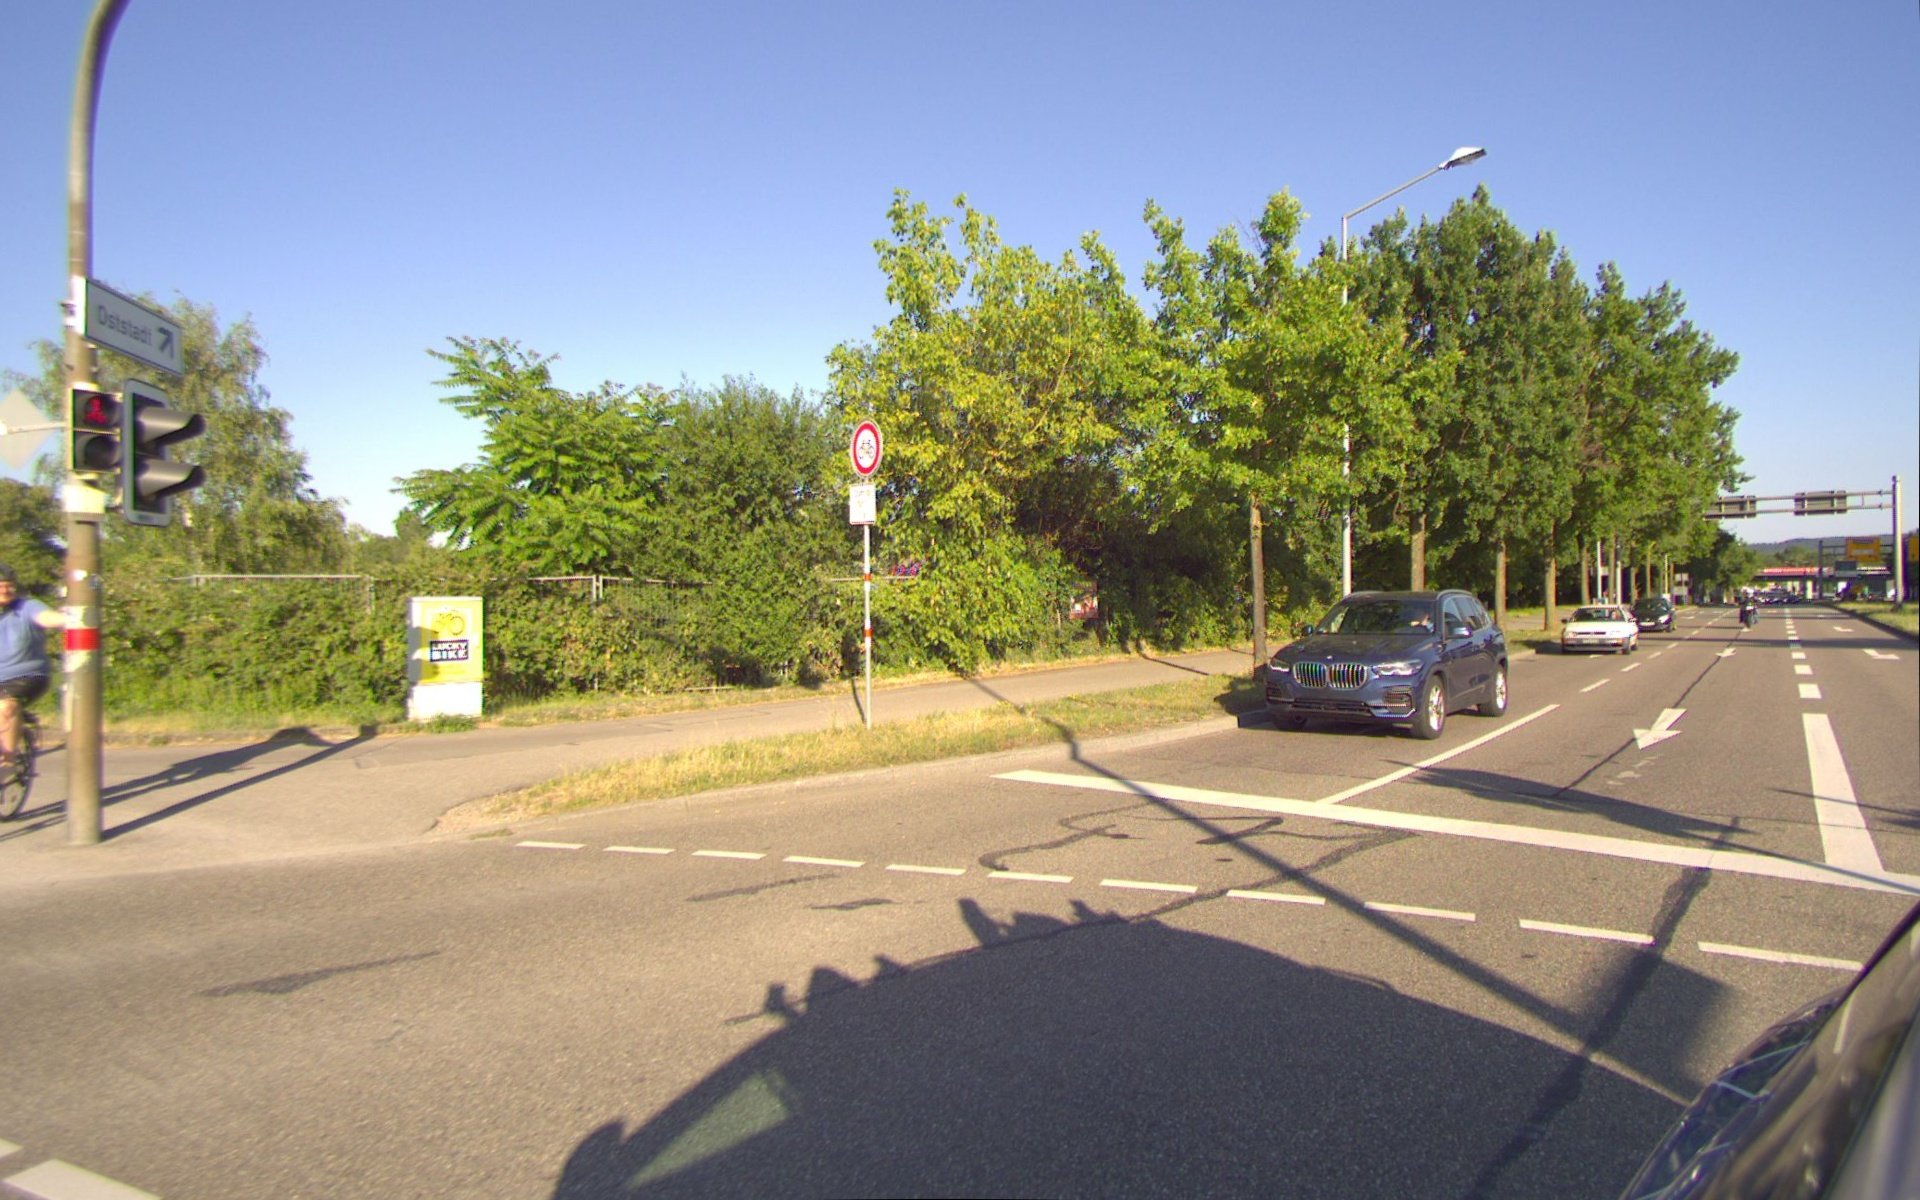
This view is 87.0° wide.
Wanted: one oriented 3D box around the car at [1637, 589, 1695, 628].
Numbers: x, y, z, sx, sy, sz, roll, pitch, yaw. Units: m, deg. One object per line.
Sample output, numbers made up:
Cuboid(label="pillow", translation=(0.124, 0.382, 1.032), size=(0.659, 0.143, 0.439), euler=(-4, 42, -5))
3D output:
Cuboid(label="car", translation=(30.111, 0.396, 43.119), size=(1.718, 1.519, 4.154), euler=(-3, -3, 39))

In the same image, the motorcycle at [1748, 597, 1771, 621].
Cuboid(label="motorcycle", translation=(34.594, 0.384, 43.797), size=(0.745, 0.995, 2.111), euler=(-1, 0, 39))

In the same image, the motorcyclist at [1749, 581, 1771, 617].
Cuboid(label="motorcyclist", translation=(34.673, -0.043, 43.887), size=(0.731, 1.530, 0.906), euler=(0, 0, 39))

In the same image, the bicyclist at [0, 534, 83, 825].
Cuboid(label="bicyclist", translation=(-6.733, 0.514, 7.015), size=(0.588, 1.922, 0.941), euler=(0, 1, -13))

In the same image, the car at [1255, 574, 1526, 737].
Cuboid(label="car", translation=(5.853, 0.582, 13.408), size=(1.952, 1.748, 4.631), euler=(-2, 0, 41))

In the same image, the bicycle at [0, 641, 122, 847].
Cuboid(label="bicycle", translation=(-6.737, 0.989, 7.045), size=(0.596, 1.259, 1.914), euler=(0, 2, -13))

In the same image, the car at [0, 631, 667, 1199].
Cuboid(label="car", translation=(-2.745, 0.962, 2.005), size=(1.600, 1.630, 3.942), euler=(-1, 0, 40))

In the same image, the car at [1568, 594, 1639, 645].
Cuboid(label="car", translation=(18.952, 0.555, 29.738), size=(1.605, 1.416, 3.987), euler=(-1, -1, 35))
